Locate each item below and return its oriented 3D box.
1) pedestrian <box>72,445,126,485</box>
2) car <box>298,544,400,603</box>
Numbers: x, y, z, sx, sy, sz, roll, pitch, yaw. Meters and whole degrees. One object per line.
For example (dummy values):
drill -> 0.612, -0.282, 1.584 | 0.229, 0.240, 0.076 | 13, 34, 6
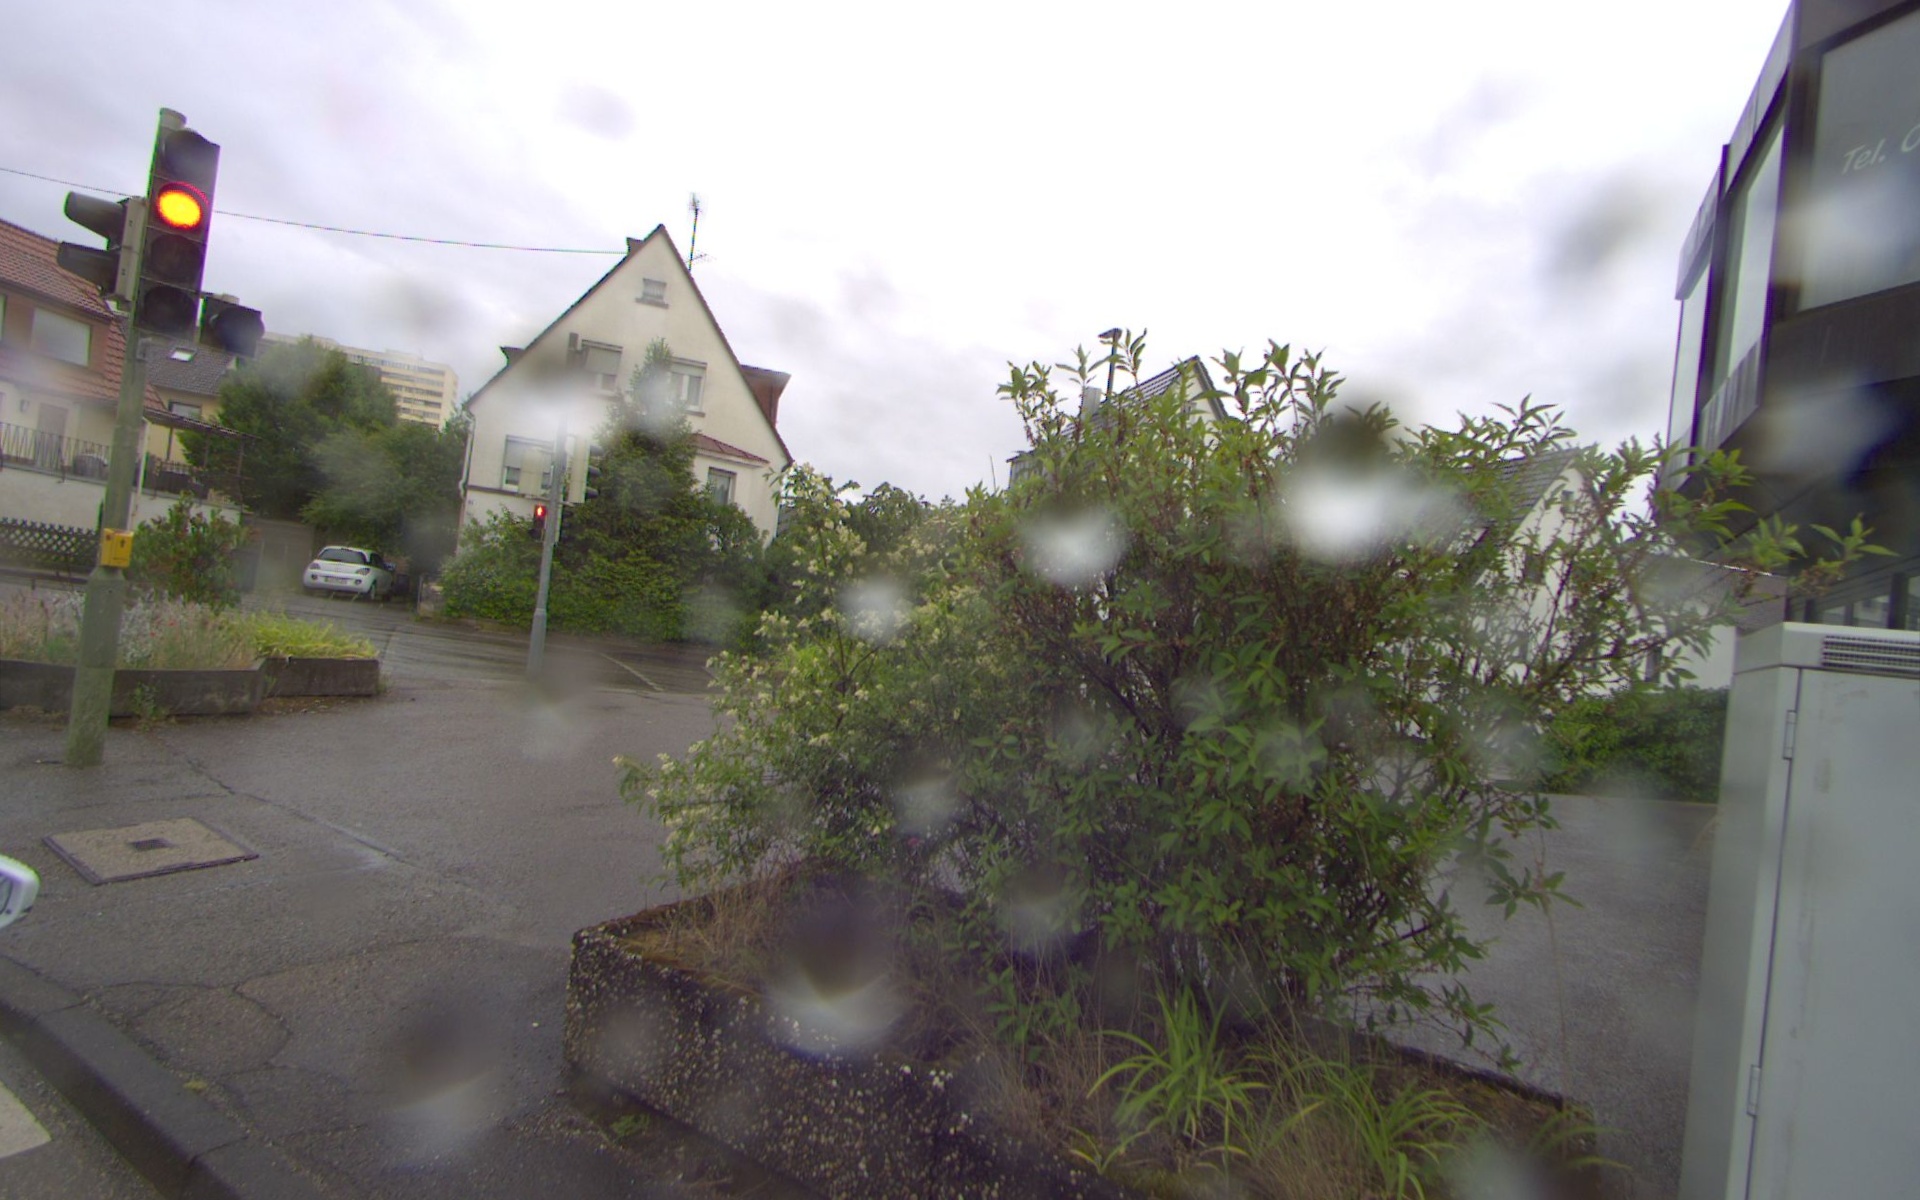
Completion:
pedestrian -> -24.272, -3.800, 28.370 | 0.623, 0.893, 0.920 | 5, -2, 13
car -> -17.756, -0.743, 29.421 | 1.794, 1.378, 3.981 | 8, -2, -22
